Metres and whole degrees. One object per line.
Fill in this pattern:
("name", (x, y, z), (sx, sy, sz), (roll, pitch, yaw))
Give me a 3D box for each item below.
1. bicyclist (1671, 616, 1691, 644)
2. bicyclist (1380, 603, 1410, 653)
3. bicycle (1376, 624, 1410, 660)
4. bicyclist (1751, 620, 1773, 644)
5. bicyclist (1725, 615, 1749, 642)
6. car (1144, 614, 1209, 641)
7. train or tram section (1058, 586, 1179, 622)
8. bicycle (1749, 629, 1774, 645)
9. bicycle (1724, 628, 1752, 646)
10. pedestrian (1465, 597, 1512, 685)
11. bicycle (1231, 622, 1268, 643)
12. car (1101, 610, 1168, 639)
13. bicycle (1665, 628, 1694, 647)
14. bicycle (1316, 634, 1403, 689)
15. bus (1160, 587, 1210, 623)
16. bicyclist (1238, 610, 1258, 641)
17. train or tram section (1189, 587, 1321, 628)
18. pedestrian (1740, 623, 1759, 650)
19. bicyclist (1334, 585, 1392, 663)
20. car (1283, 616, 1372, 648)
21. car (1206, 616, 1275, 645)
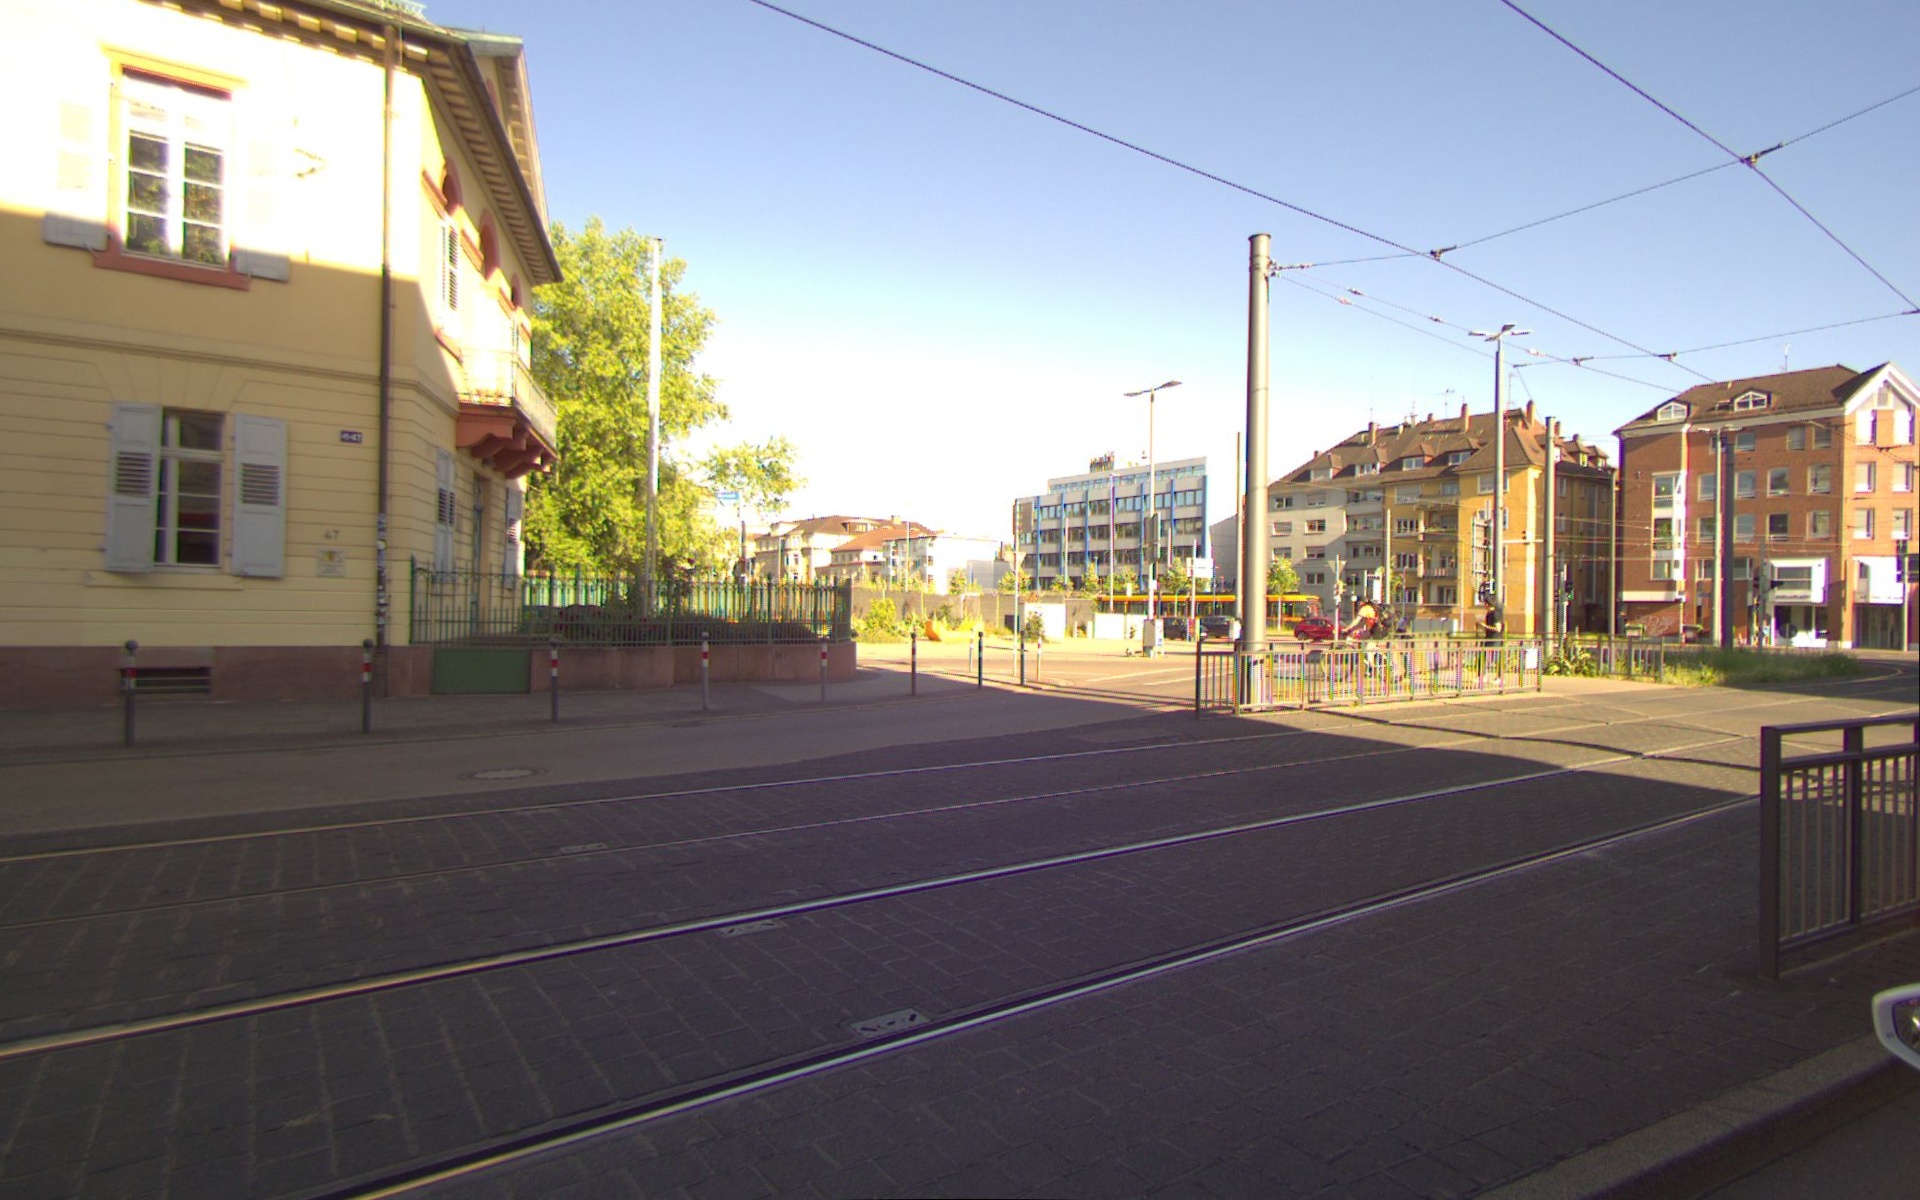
("bicyclist", (39.737, 1.647, 55.376), (0.688, 1.523, 0.630), (2, 0, -30))
("bicyclist", (15.755, 1.004, 36.341), (0.748, 1.783, 0.749), (2, 0, 43))
("bicycle", (15.635, 1.513, 36.251), (0.479, 1.238, 1.843), (2, 0, 44))
("bicyclist", (50.373, 1.993, 63.114), (0.958, 1.490, 0.702), (1, 0, -22))
("bicyclist", (45.540, 1.684, 58.838), (0.688, 1.523, 0.894), (2, 0, -30))
("car", (14.744, 1.870, 68.564), (1.895, 1.708, 3.916), (2, 0, -41))
("train or tram section", (15.197, 0.339, 97.780), (2.709, 3.172, 13.572), (2, 0, -37))
("bicycle", (50.366, 2.338, 63.118), (1.669, 0.994, 0.403), (2, 0, -22))
("bicycle", (45.583, 2.169, 58.849), (2.220, 0.984, 0.521), (2, 0, -31))
("pedestrian", (10.573, 0.807, 20.091), (0.769, 1.703, 0.585), (2, 0, -44))
("bicycle", (17.752, 1.986, 61.657), (0.542, 1.230, 2.168), (2, 0, -41))
("car", (10.386, 1.458, 59.873), (1.631, 1.546, 3.822), (2, 0, -39))
("bicycle", (39.690, 2.062, 55.382), (2.220, 0.984, 0.444), (2, 0, -31))
("bicycle", (8.084, 1.229, 20.348), (1.573, 1.007, 0.403), (2, 0, 30))
("bus", (20.334, 0.459, 90.909), (2.743, 3.172, 3.494), (2, 0, -34))
("bicyclist", (17.686, 1.550, 61.685), (0.785, 1.832, 0.892), (2, 0, -43))
("train or tram section", (24.738, 0.561, 84.945), (2.781, 3.172, 11.142), (2, 0, -38))
("pedestrian", (54.837, 2.526, 69.766), (0.737, 1.845, 0.781), (2, 0, -28))
("bicyclist", (8.151, 0.478, 20.322), (1.025, 1.542, 0.391), (2, 0, 30))
("car", (21.870, 1.884, 59.890), (1.984, 1.723, 4.545), (2, 0, -41))
("car", (18.004, 1.941, 64.572), (1.762, 1.694, 3.955), (2, 0, -39))
